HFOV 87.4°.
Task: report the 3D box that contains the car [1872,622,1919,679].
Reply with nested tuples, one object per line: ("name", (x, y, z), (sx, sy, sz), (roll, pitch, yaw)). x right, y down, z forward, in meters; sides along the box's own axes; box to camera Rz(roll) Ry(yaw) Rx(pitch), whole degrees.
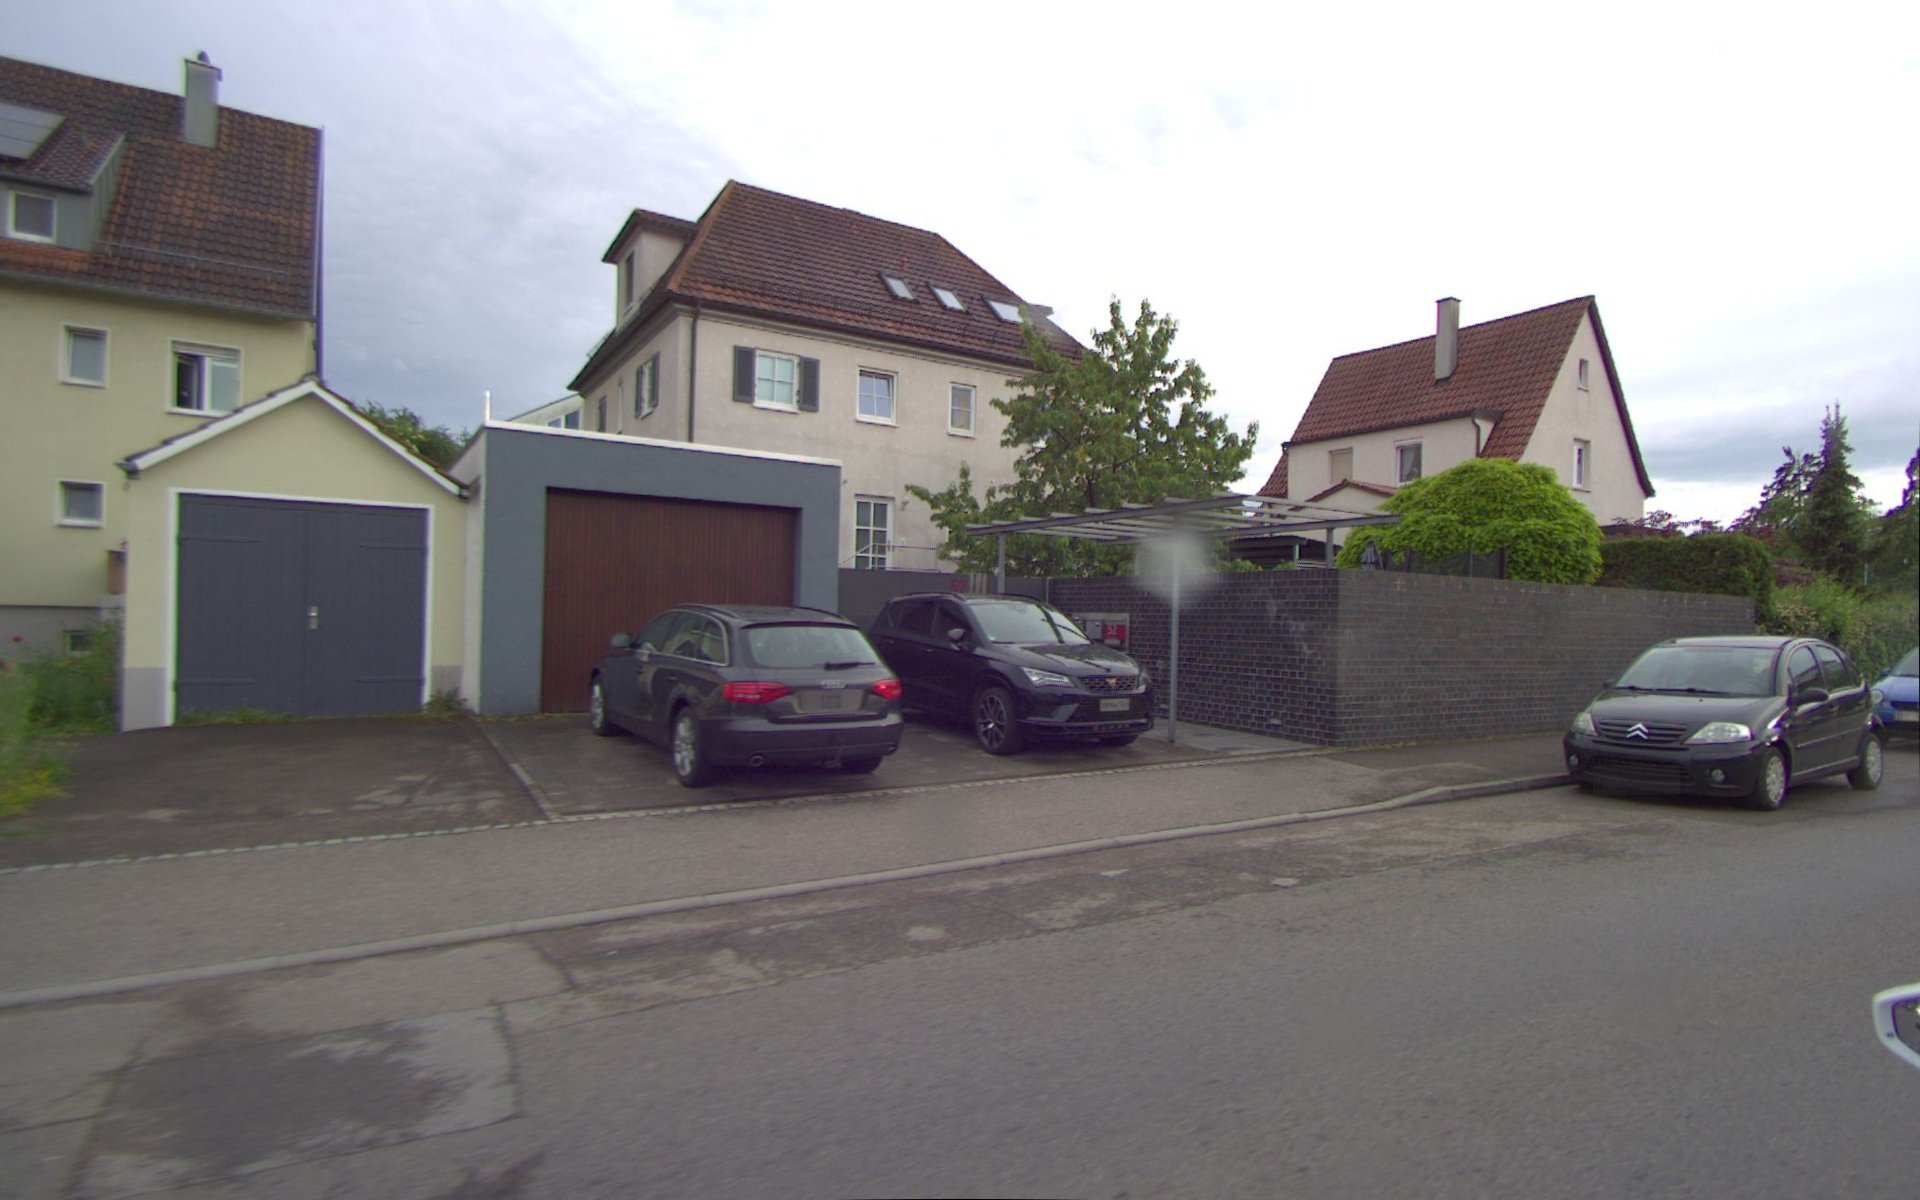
("car", (32.447, 1.653, 32.142), (1.878, 1.814, 4.529), (1, -1, -34))

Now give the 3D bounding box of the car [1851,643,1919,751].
("car", (14.256, 1.327, 14.155), (3.555, 1.421, 1.538), (1, -2, -31))

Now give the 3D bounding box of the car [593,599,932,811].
("car", (-2.041, 0.759, 9.326), (1.696, 1.433, 4.059), (1, 1, -33))

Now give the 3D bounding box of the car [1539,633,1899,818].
("car", (7.581, 1.102, 9.974), (3.664, 1.526, 1.601), (1, -2, -31))

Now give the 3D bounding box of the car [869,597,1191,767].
("car", (0.628, 0.778, 11.265), (1.739, 1.476, 3.561), (1, 1, -35))
